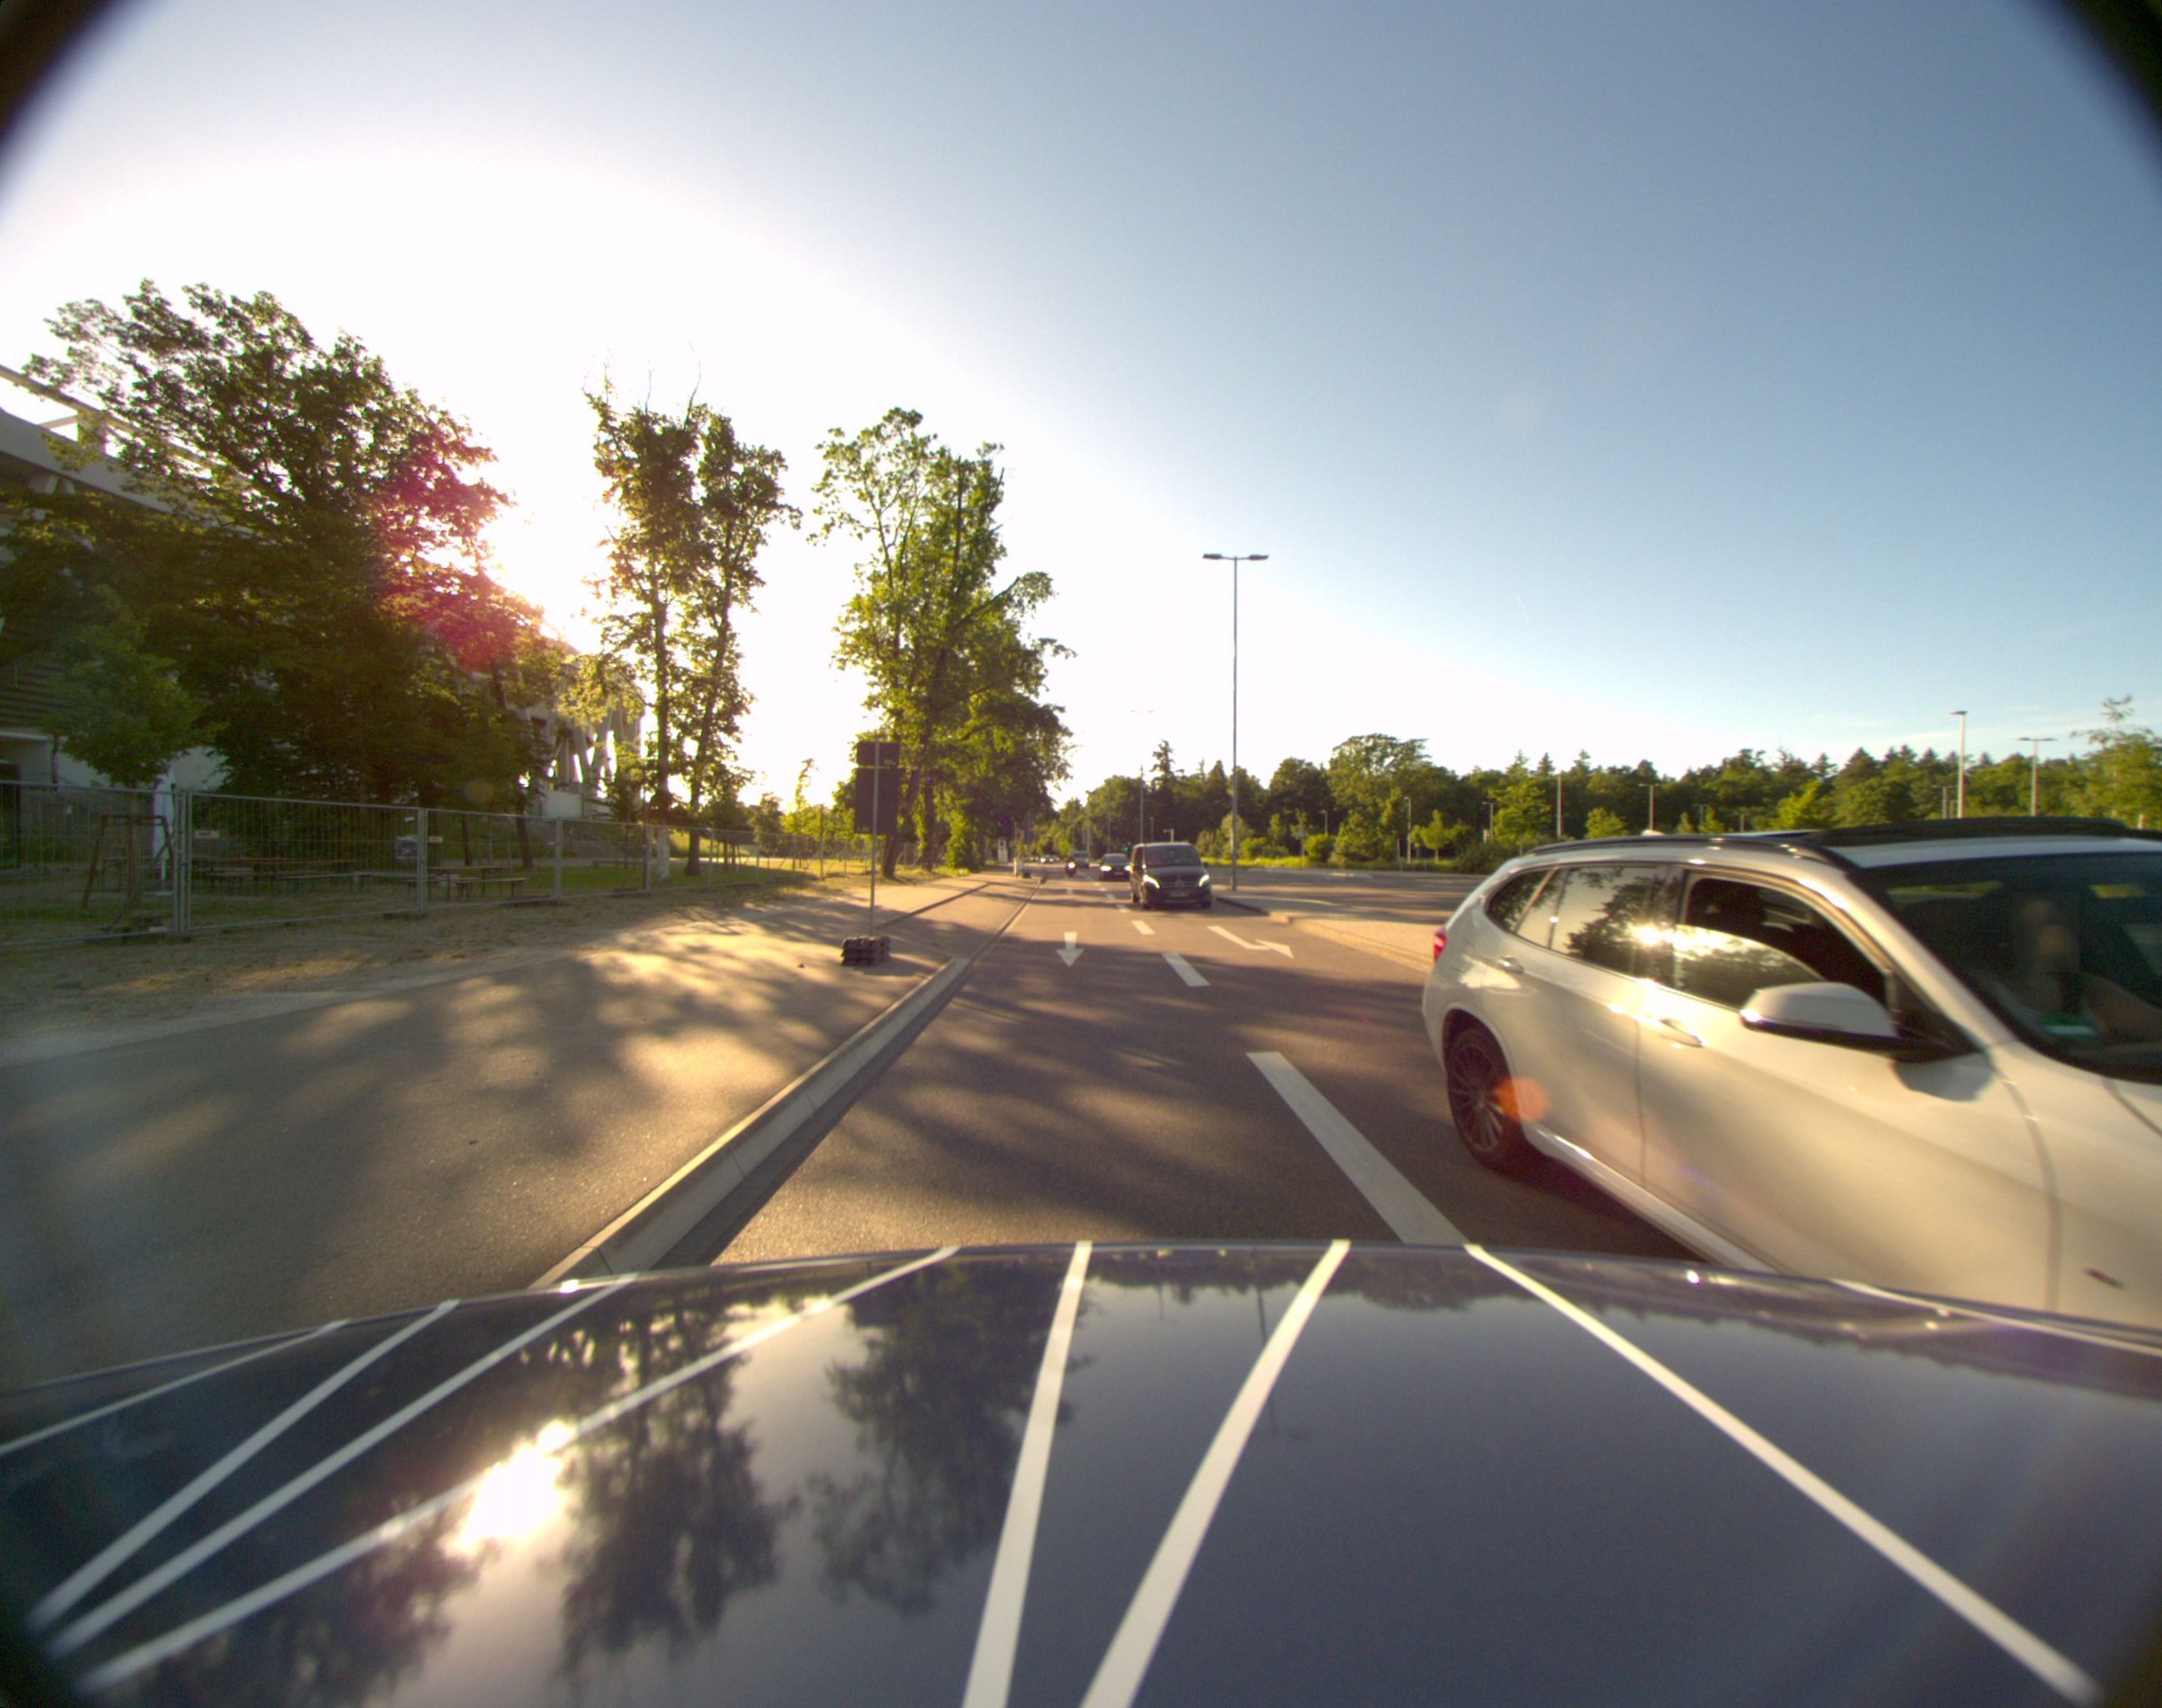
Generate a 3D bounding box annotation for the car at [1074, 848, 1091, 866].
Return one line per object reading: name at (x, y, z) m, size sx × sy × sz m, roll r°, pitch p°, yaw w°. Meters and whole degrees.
car at (0.191, 0.374, 88.274) m, size 1.883 × 1.951 × 5.048 m, roll -2°, pitch 0°, yaw 0°

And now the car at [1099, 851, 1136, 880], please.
car at (2.104, 0.624, 44.594) m, size 1.883 × 1.528 × 3.999 m, roll -2°, pitch 1°, yaw 0°

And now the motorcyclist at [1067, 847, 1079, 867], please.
motorcyclist at (-0.567, 0.209, 54.199) m, size 0.822 × 1.367 × 0.476 m, roll -2°, pitch 1°, yaw 1°

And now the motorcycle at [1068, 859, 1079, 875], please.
motorcycle at (-0.538, 0.934, 54.585) m, size 0.717 × 1.058 × 2.721 m, roll -2°, pitch 0°, yaw 1°

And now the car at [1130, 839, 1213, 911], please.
car at (2.565, 0.532, 22.662) m, size 1.912 × 1.845 × 4.873 m, roll -2°, pitch 1°, yaw 1°

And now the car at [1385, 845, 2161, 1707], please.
car at (2.631, 0.817, 2.077) m, size 1.723 × 1.572 × 4.432 m, roll -2°, pitch 1°, yaw -1°

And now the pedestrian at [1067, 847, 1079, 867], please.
pedestrian at (-0.577, 0.192, 54.717) m, size 0.739 × 1.387 × 0.500 m, roll -2°, pitch 1°, yaw 1°

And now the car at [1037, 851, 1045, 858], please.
car at (-11.463, 0.109, 217.069) m, size 1.774 × 1.849 × 3.999 m, roll -2°, pitch 1°, yaw 1°

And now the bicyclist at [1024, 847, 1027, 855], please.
bicyclist at (-9.717, -0.578, 132.101) m, size 0.451 × 1.412 × 0.575 m, roll 0°, pitch 1°, yaw 0°

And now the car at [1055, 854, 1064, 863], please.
car at (-4.743, 0.958, 165.622) m, size 1.675 × 1.827 × 3.982 m, roll -2°, pitch 1°, yaw 1°

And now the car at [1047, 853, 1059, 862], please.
car at (-5.005, 0.663, 137.224) m, size 1.883 × 1.629 × 5.048 m, roll -2°, pitch 0°, yaw 0°
